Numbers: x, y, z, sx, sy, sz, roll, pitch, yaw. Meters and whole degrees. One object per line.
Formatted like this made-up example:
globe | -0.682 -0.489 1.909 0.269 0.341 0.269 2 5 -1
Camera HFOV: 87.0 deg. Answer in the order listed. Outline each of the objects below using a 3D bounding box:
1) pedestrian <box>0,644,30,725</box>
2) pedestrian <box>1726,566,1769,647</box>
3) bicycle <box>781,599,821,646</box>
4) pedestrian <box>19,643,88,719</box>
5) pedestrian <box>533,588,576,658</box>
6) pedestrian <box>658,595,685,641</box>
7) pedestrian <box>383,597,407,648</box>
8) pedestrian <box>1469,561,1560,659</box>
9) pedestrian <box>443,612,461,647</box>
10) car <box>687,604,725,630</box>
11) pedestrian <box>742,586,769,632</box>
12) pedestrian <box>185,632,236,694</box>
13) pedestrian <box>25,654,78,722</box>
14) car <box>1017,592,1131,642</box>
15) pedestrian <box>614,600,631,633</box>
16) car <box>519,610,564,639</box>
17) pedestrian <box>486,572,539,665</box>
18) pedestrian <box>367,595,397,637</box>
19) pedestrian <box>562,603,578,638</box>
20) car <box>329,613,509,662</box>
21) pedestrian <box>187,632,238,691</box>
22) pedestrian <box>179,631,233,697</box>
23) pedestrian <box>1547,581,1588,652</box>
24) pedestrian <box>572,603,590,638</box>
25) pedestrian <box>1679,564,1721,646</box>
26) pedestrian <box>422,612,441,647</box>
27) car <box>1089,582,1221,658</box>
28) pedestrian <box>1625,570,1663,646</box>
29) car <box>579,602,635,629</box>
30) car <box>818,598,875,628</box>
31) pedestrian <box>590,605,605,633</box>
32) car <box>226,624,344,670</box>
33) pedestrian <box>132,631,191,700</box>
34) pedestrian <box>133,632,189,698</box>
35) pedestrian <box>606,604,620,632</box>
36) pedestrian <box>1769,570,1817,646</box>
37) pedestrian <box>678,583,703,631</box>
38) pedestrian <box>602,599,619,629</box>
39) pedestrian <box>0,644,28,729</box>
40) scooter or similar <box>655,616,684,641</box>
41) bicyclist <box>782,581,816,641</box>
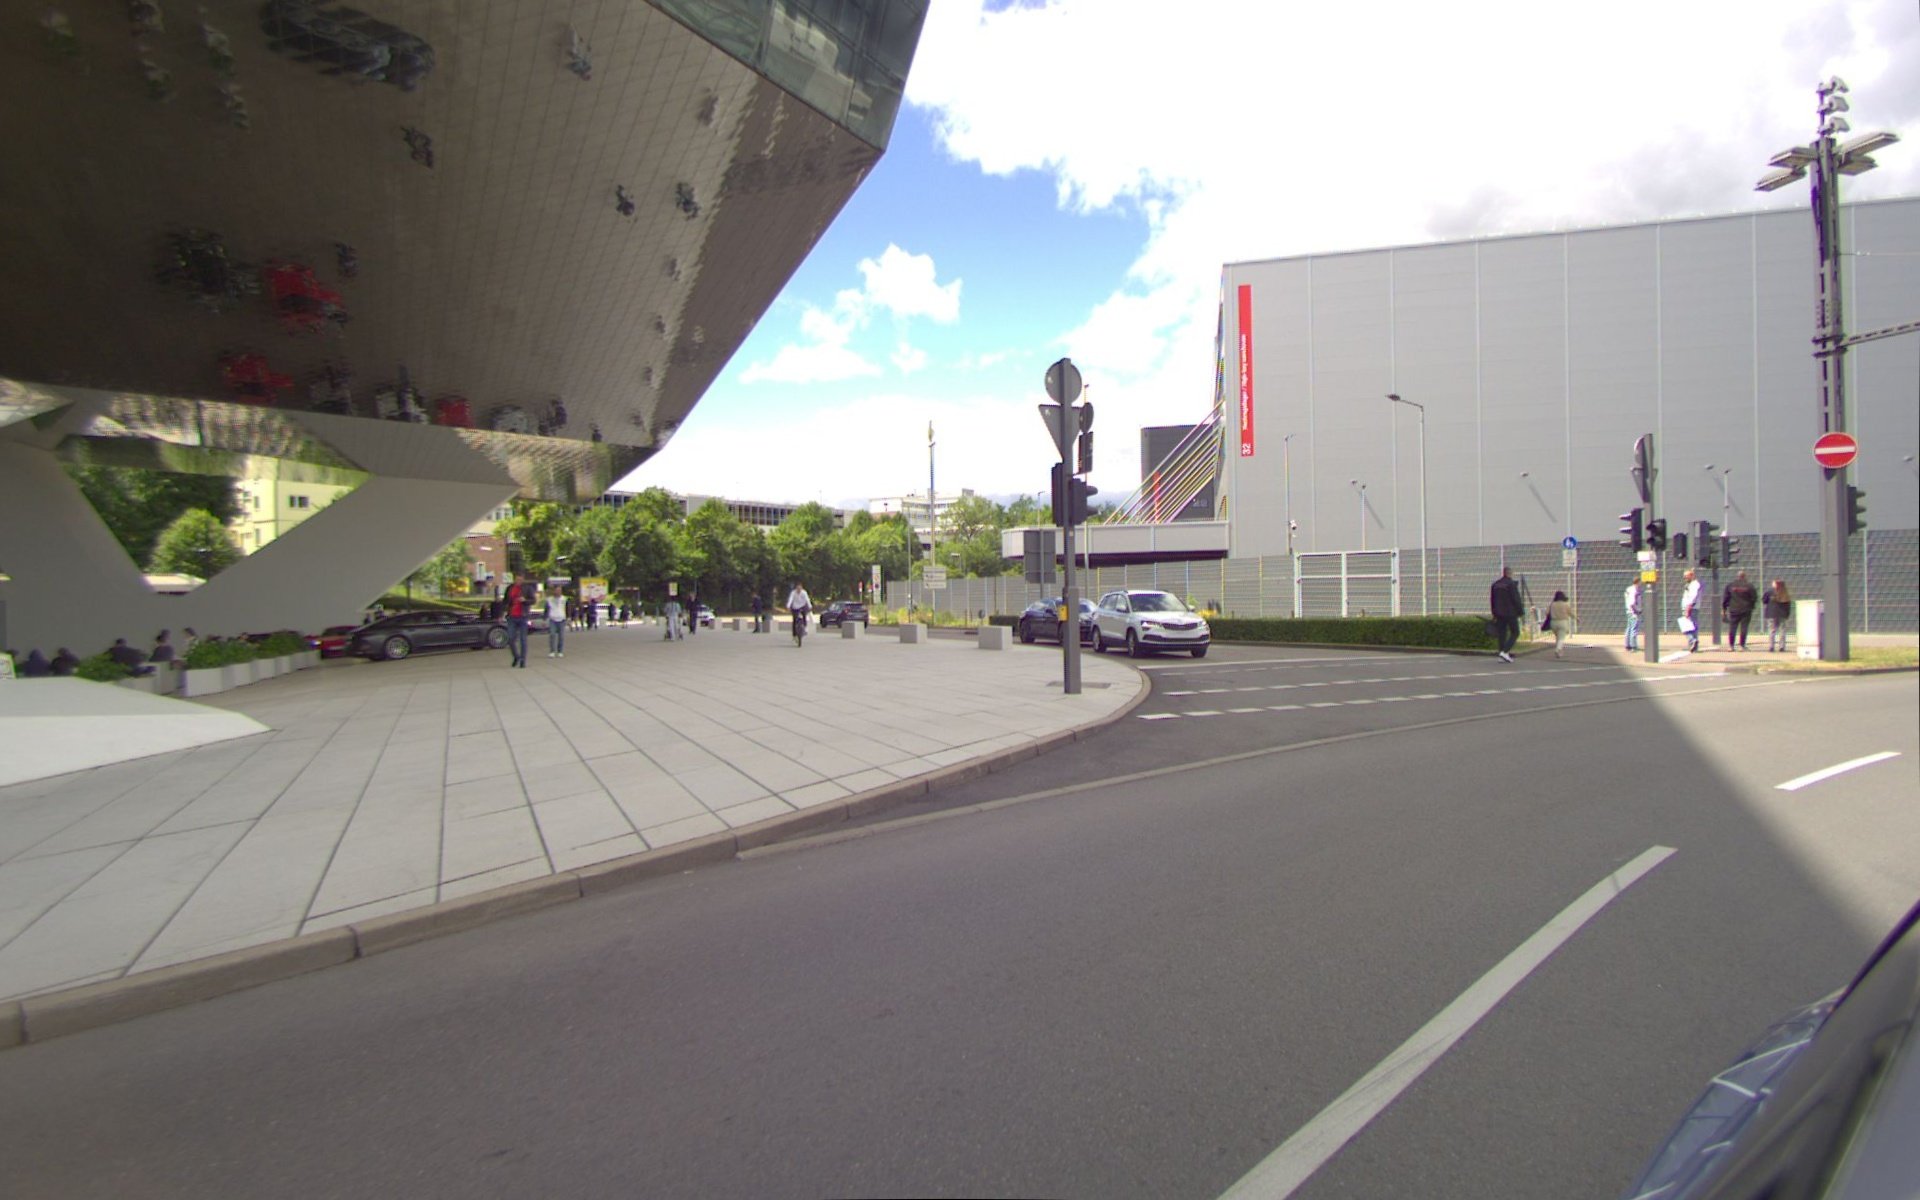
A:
pedestrian | -19.445 1.718 20.462 0.689 1.592 0.785 -3 -1 36
pedestrian | 18.051 0.144 23.201 0.615 1.817 0.665 -3 -1 31
bicycle | -4.570 0.628 29.134 0.766 1.290 1.925 -3 -1 1
pedestrian | -20.329 1.802 22.707 0.904 1.592 0.832 -2 -1 -25
pedestrian | -10.188 0.572 25.384 0.904 1.697 0.832 -2 -1 -25
pedestrian | -10.089 0.625 35.385 0.787 1.560 0.788 -2 -1 -20
pedestrian | -23.323 0.941 41.777 0.762 2.039 0.827 -2 -1 -34
pedestrian | 11.613 0.204 21.235 1.355 2.010 0.956 0 -1 1
pedestrian | -26.660 1.539 53.090 0.761 1.761 0.828 -2 -1 -30
car | -17.662 1.172 70.286 1.848 1.664 4.006 -3 -1 -24
pedestrian | -9.243 0.418 45.773 0.818 2.039 0.771 -3 -1 23
pedestrian | -20.067 1.668 27.119 0.904 1.592 0.832 -2 -1 -25
pedestrian | -18.899 1.823 21.048 0.688 1.335 0.637 -3 -1 33
car | 3.347 0.509 30.579 1.800 1.401 4.166 -1 -1 -19
pedestrian | -21.457 1.058 64.245 0.762 2.039 0.827 -2 -1 -34
car | -25.051 1.464 60.513 1.851 1.574 4.002 -2 -1 -30
pedestrian | -9.263 0.381 20.948 0.904 1.849 0.832 -2 -1 -25
pedestrian | -25.482 0.700 44.625 0.768 1.761 0.821 -3 -1 24
pedestrian | -23.274 1.202 60.395 0.761 2.039 0.829 -2 -1 -26
car | -16.988 1.151 31.941 1.991 1.236 4.609 -3 -1 41
pedestrian | -21.185 1.734 28.718 0.904 1.592 0.832 -2 -1 -18
pedestrian | -19.420 1.629 26.079 0.904 1.592 0.832 -2 -1 -25
pedestrian | 13.485 0.359 22.453 0.581 1.515 0.760 -4 -1 42
pedestrian | -22.507 1.229 60.038 0.762 2.039 0.827 -2 -1 -34
pedestrian | 17.209 0.115 23.540 0.614 1.870 0.666 -3 -1 29
pedestrian | -27.589 1.527 52.803 0.762 1.761 0.828 -2 -1 -32
car | 4.588 0.397 24.435 1.801 1.569 4.007 -3 2 -9
pedestrian | 16.334 0.184 24.179 0.615 1.782 0.600 -3 -1 31
car | -29.326 1.284 84.087 4.127 2.039 2.002 -3 -1 -28
car | -7.164 0.851 63.542 1.961 1.724 4.001 -2 -1 -32
pedestrian | -27.152 1.414 75.821 0.762 2.039 0.827 -2 -1 -34
car | -26.588 1.817 40.026 1.962 1.568 3.999 -3 0 1
pedestrian | -19.547 1.590 24.789 0.904 1.592 0.832 -2 -1 -25
pedestrian | -20.283 1.640 25.697 0.904 1.592 0.832 -2 -1 -25
pedestrian | -25.895 1.349 75.494 0.762 2.039 0.827 -2 -1 -34
pedestrian | 18.631 0.180 22.641 0.610 1.659 0.671 -2 -1 -42
pedestrian | -11.706 0.321 43.900 0.762 2.039 0.827 -2 -1 -34
pedestrian | -24.629 0.975 71.331 0.767 2.039 0.822 -3 -1 21
pedestrian | -18.725 1.675 19.409 0.817 1.592 0.920 -3 -1 11
scooter or similar | -10.412 1.014 36.256 0.929 0.850 1.116 -3 -1 -20
bicyclist | -4.610 0.316 29.022 0.758 1.674 0.936 -3 -1 1
